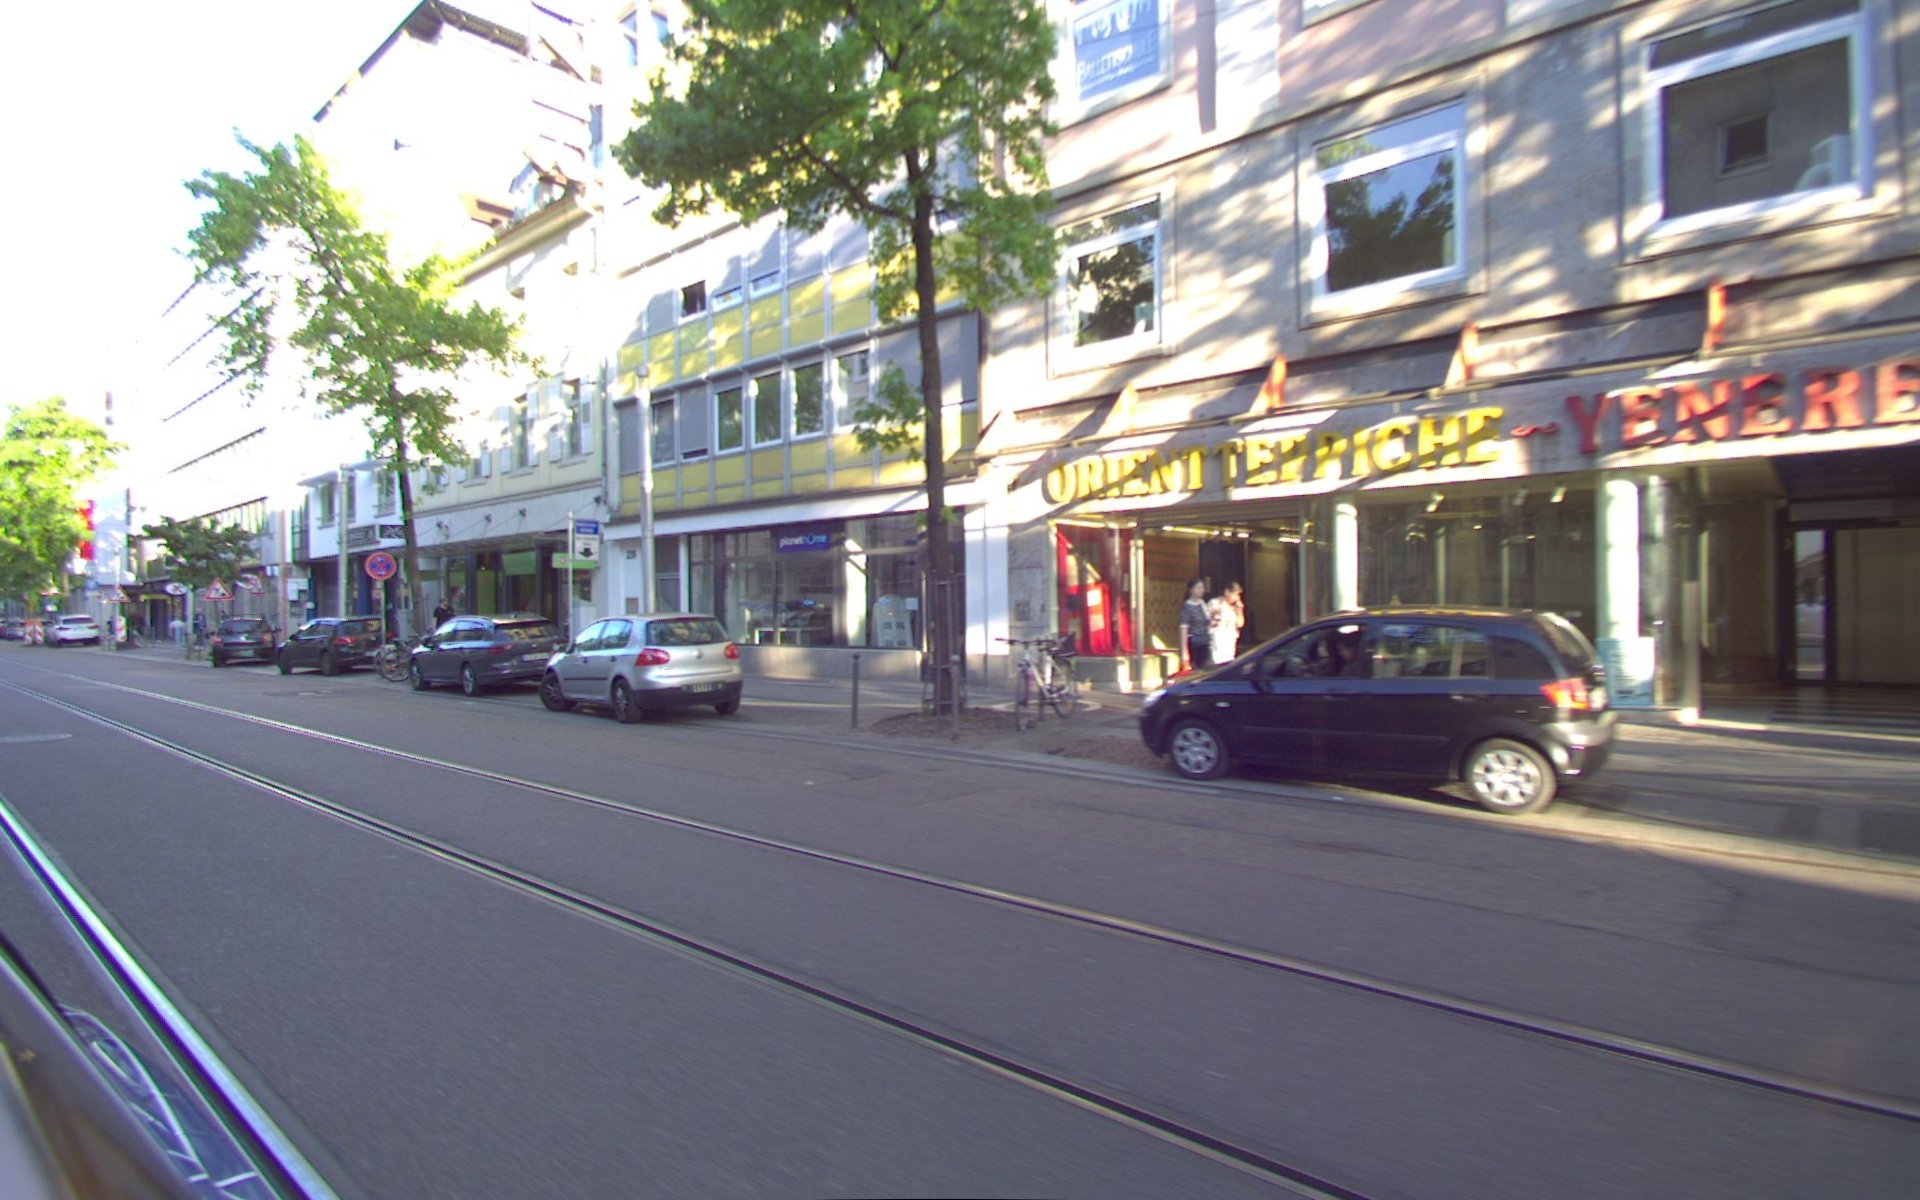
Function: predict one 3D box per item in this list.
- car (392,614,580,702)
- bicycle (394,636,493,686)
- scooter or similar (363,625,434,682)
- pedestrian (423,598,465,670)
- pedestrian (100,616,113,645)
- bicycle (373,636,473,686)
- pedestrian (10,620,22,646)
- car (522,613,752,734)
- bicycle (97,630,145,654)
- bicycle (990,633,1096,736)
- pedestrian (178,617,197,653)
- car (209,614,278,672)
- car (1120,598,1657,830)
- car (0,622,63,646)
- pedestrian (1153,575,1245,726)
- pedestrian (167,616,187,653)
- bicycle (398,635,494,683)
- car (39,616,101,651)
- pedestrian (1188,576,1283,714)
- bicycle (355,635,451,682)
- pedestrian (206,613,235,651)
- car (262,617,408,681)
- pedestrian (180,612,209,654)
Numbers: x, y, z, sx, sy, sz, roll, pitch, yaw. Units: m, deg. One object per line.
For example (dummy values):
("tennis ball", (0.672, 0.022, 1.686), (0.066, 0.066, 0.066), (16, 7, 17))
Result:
("car", (-9.320, 1.057, 19.722), (4.485, 1.472, 1.693), (-1, 1, 42))
("bicycle", (-11.420, 1.335, 22.444), (0.330, 1.009, 1.949), (-2, -1, 44))
("scooter or similar", (-13.558, 1.271, 24.451), (1.403, 1.280, 0.375), (-3, 1, -44))
("pedestrian", (-13.696, 0.888, 26.860), (0.878, 1.839, 0.653), (-2, 2, 42))
("pedestrian", (-59.554, 2.142, 70.623), (0.592, 2.029, 0.608), (-2, -2, 40))
("bicycle", (-11.904, 1.344, 22.480), (0.331, 1.009, 1.948), (-2, -1, 44))
("pedestrian", (-73.807, 2.583, 79.110), (0.723, 1.948, 0.647), (-2, -2, 44))
("car", (-4.927, 0.971, 15.085), (1.745, 1.508, 4.181), (-1, 0, -41))
("bicycle", (-40.980, 2.037, 49.444), (1.724, 0.999, 0.479), (-5, 2, -41))
("bicycle", (1.029, 0.969, 12.142), (0.439, 1.073, 1.795), (-2, 0, 33))
("pedestrian", (-38.566, 1.737, 50.523), (0.620, 1.725, 0.808), (-2, 0, -44))
("car", (-22.733, 1.321, 32.205), (1.608, 1.628, 3.718), (-3, 0, -33))
("car", (3.444, 0.782, 8.527), (3.825, 1.439, 1.648), (-1, 2, 41))
("car", (-69.570, 2.511, 75.584), (1.775, 1.572, 3.381), (-1, 2, 18))
("pedestrian", (2.833, 0.581, 11.985), (0.740, 1.706, 0.835), (-2, -1, 41))
("pedestrian", (-37.619, 1.637, 48.641), (0.634, 1.725, 0.830), (-2, 0, -44))
("bicycle", (-11.794, 1.334, 23.270), (1.948, 1.009, 0.420), (0, -1, -44))
("car", (-49.714, 1.874, 56.513), (4.742, 1.767, 1.973), (-2, 1, 41))
("pedestrian", (3.561, 0.566, 13.094), (0.913, 1.706, 0.781), (-2, -1, 41))
("bicycle", (-13.041, 1.359, 23.749), (0.331, 1.009, 1.948), (-2, -1, 44))
("pedestrian", (-34.733, 1.489, 47.533), (1.037, 1.708, 0.823), (-2, 1, 42))
("car", (-16.489, 1.240, 26.627), (4.234, 1.501, 1.776), (-1, 1, 36))
("pedestrian", (-33.520, 1.438, 44.300), (0.831, 1.780, 0.842), (-2, -1, 39))
